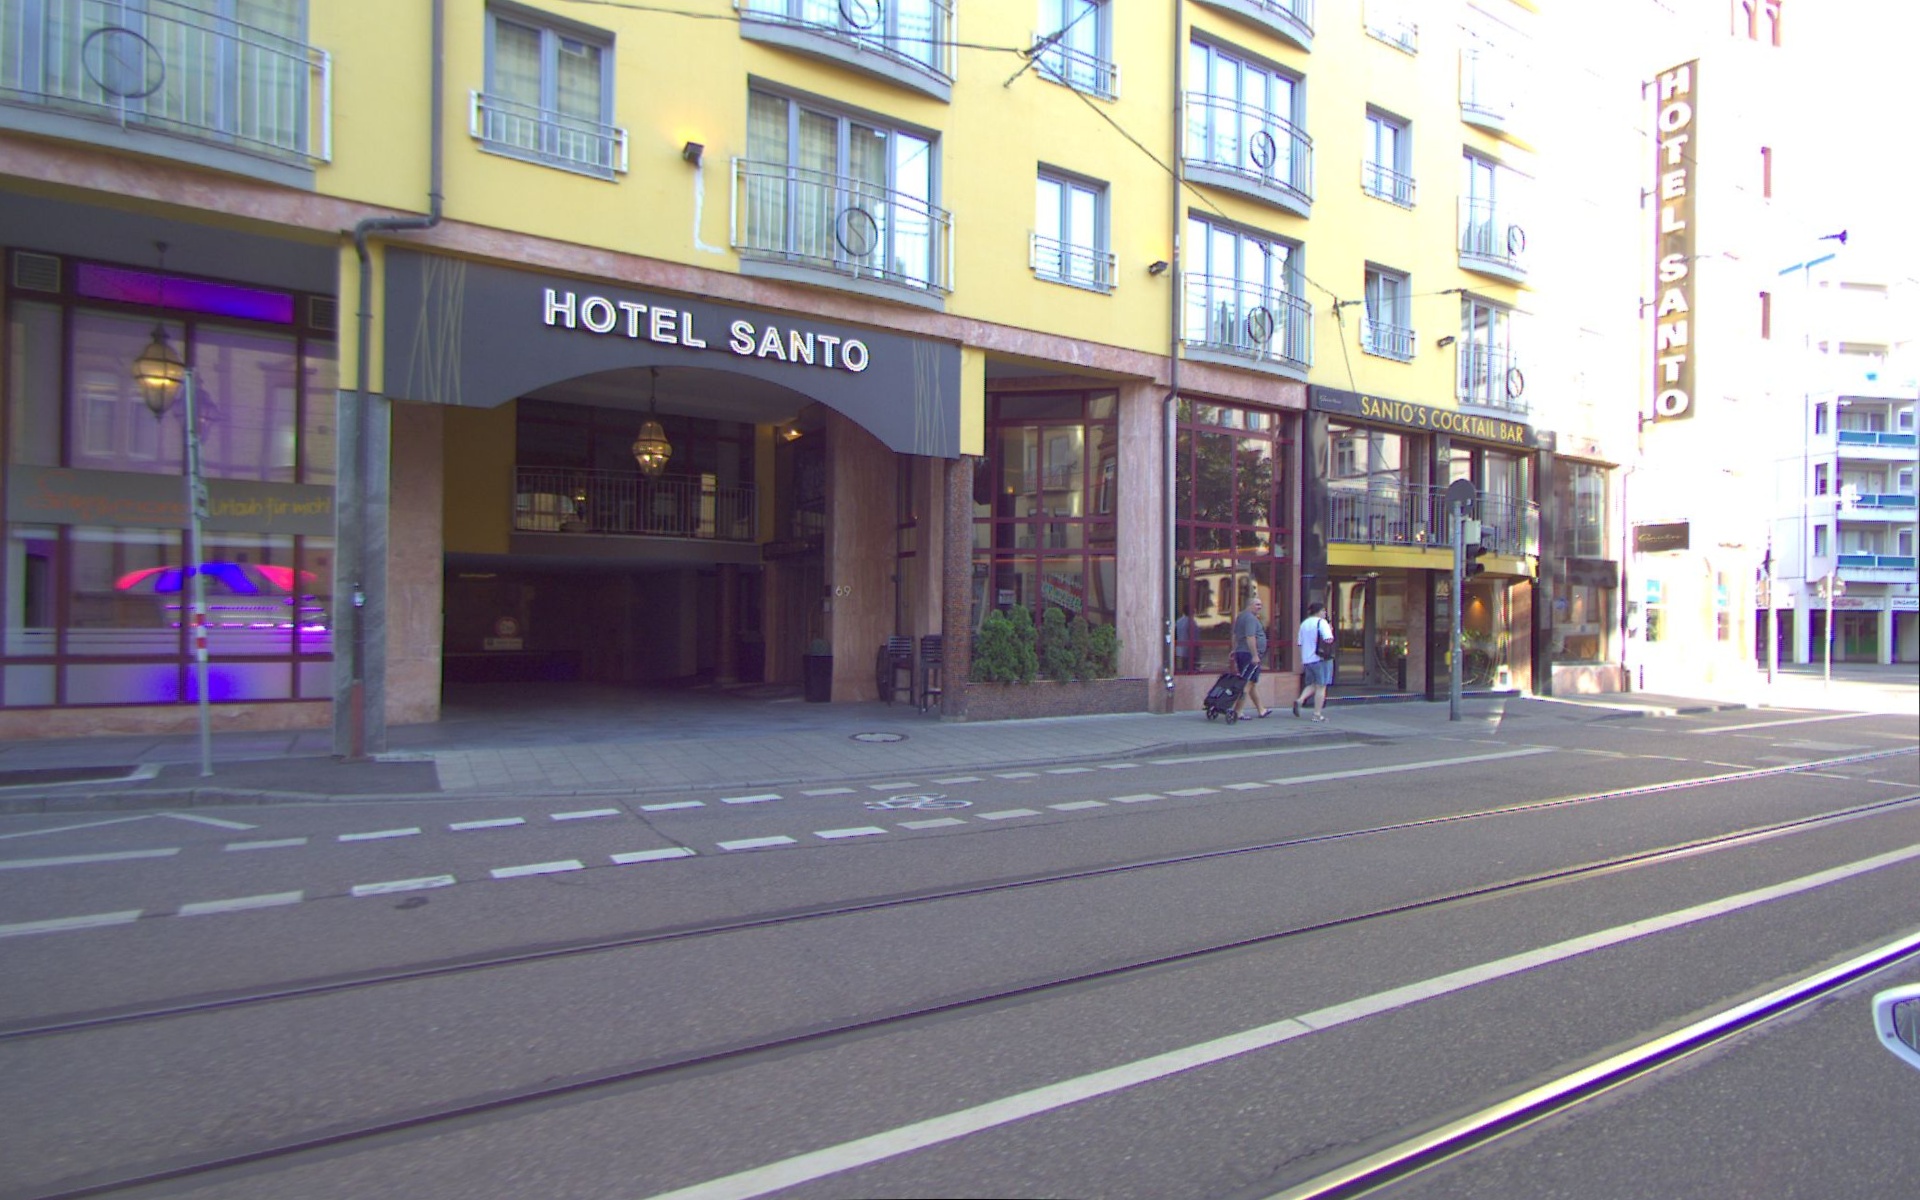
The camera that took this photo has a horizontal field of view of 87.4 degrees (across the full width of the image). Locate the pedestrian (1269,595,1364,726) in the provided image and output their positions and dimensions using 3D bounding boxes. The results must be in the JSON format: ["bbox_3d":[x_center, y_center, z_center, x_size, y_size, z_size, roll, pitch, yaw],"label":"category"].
[{"bbox_3d":[5.335,0.876,15.040,1.034,1.843,0.747,1,4,-31],"label":"pedestrian"}]

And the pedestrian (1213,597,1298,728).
[{"bbox_3d":[4.293,0.885,14.644,0.741,1.795,0.793,1,4,-31],"label":"pedestrian"}]

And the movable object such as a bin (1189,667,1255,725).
[{"bbox_3d":[3.671,1.338,14.093,0.831,0.726,0.381,1,4,-30],"label":"movable object such as a bin"}]
